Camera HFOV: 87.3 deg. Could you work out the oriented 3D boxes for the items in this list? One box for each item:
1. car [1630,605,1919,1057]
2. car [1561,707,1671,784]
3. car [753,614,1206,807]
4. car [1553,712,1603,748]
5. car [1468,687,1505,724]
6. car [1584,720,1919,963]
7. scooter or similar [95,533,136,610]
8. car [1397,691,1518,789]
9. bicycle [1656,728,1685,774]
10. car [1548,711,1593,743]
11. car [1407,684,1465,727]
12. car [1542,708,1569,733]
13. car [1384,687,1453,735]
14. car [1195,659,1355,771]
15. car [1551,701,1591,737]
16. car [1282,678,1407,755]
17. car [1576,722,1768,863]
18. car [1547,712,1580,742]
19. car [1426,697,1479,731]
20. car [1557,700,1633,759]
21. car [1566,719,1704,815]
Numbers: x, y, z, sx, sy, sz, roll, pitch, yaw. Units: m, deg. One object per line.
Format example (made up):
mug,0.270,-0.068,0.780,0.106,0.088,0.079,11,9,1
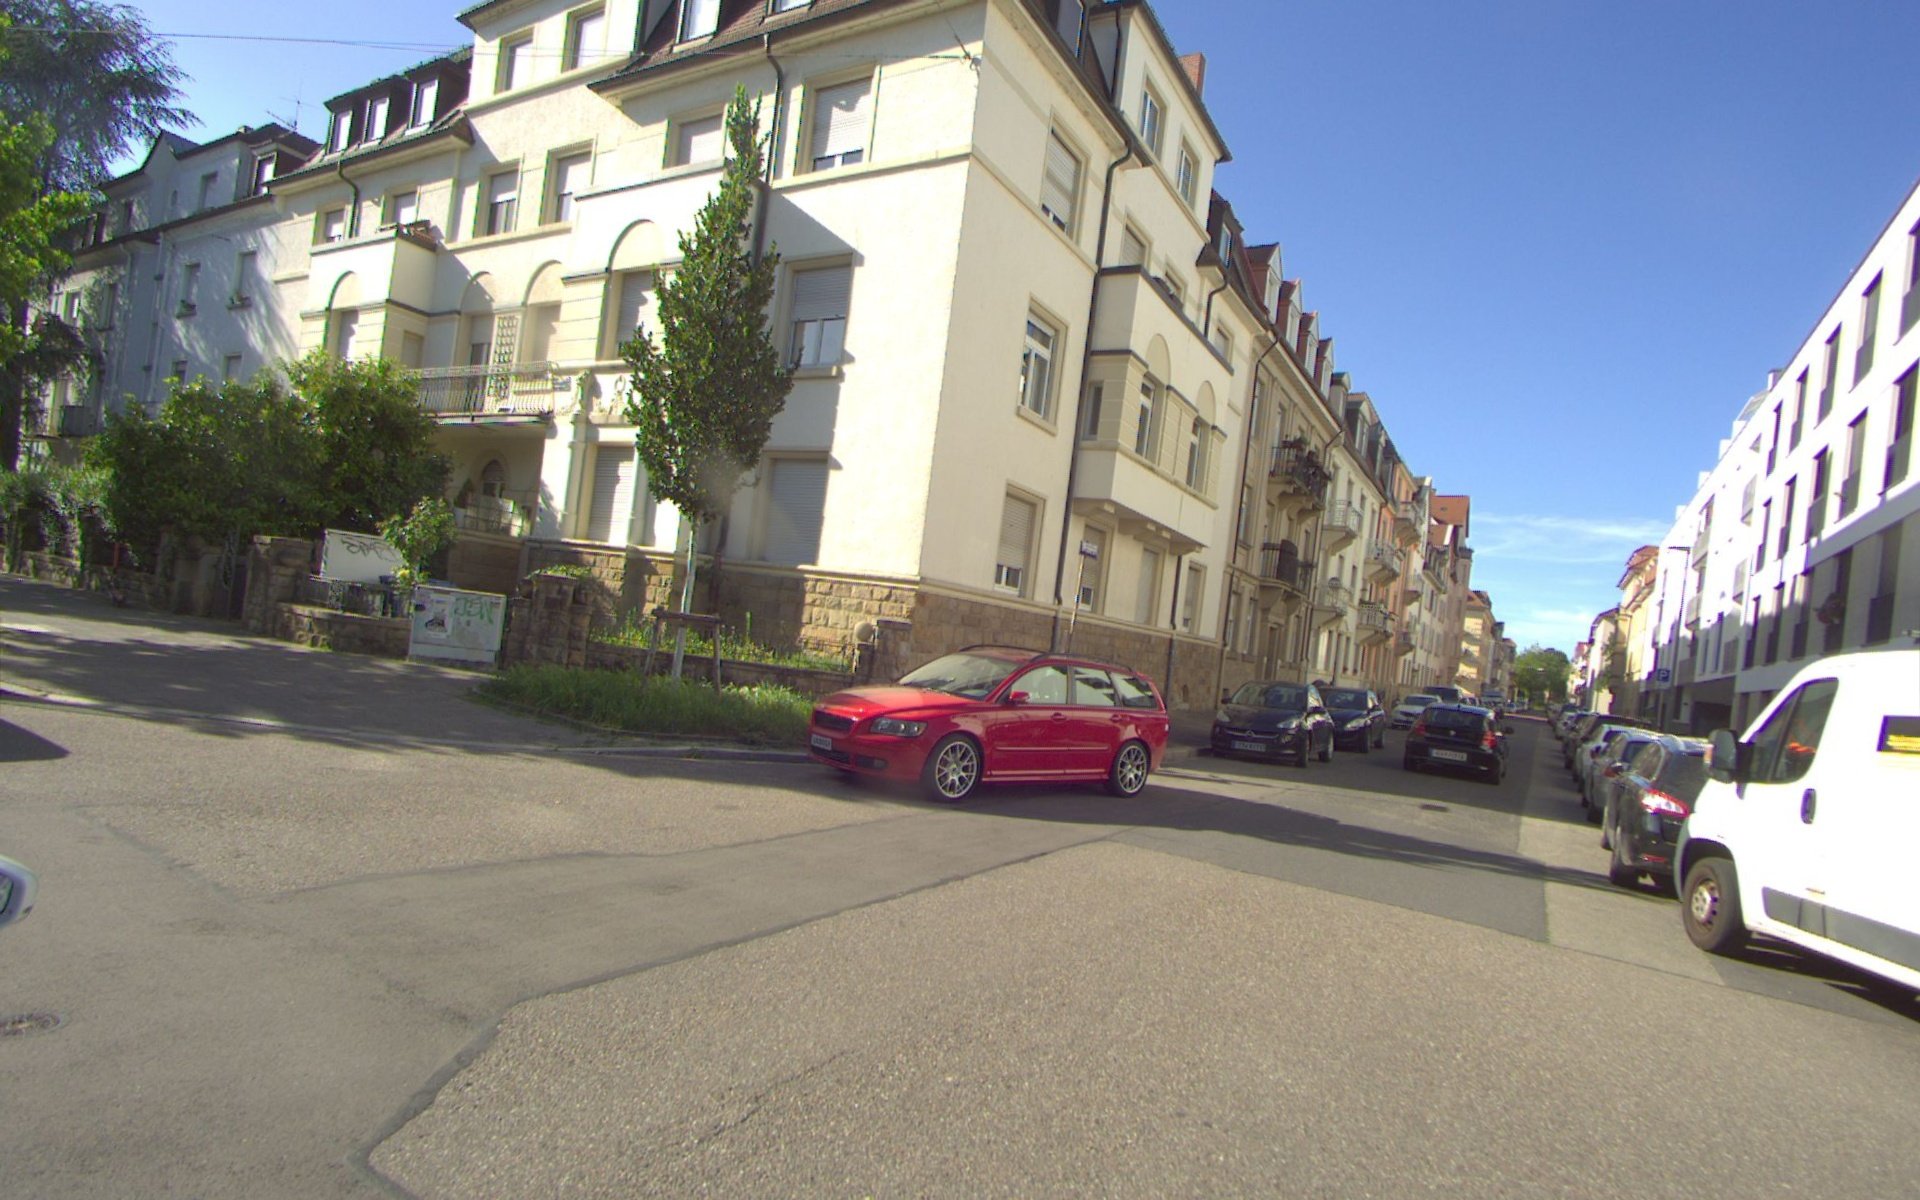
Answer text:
car,6.176,1.327,5.401,2.192,2.333,5.062,7,-1,10
car,16.688,3.685,25.797,1.932,1.486,4.527,6,-3,30
car,0.409,1.204,10.692,4.705,1.486,1.930,9,-3,-43
car,31.921,6.718,52.075,1.932,1.486,4.527,6,-3,30
car,49.231,9.854,94.001,2.533,3.001,6.212,6,-3,31
car,7.780,2.173,10.373,2.013,1.487,4.937,7,-2,31
scooter or similar,-14.201,-0.491,16.911,0.400,1.199,1.191,7,0,-42
car,10.124,2.729,20.330,1.759,1.542,3.993,6,-1,31
bicycle,22.398,4.763,31.709,0.425,1.338,1.821,6,-3,43
car,34.791,7.245,57.403,1.932,1.486,4.527,6,-3,30
car,23.658,5.276,49.859,2.060,1.752,4.811,6,-3,31
car,55.911,11.338,94.507,1.932,2.022,4.527,7,-3,30
car,18.384,4.455,40.205,1.967,1.569,4.430,6,-3,31
car,6.048,2.128,18.998,1.804,1.660,4.178,6,-2,31
car,40.813,7.956,67.255,1.932,2.022,4.527,7,-3,30
car,9.659,2.911,25.005,1.798,1.486,4.936,6,-3,33
car,10.810,2.805,15.624,1.929,1.445,4.937,8,-1,32
car,47.820,10.072,79.729,1.932,2.022,4.527,7,-3,30
car,26.702,6.212,54.508,1.968,1.492,3.994,6,-3,34
car,22.653,4.627,36.022,1.932,1.704,4.527,6,-3,30
car,14.140,3.439,21.331,1.932,1.486,4.941,6,-3,30
